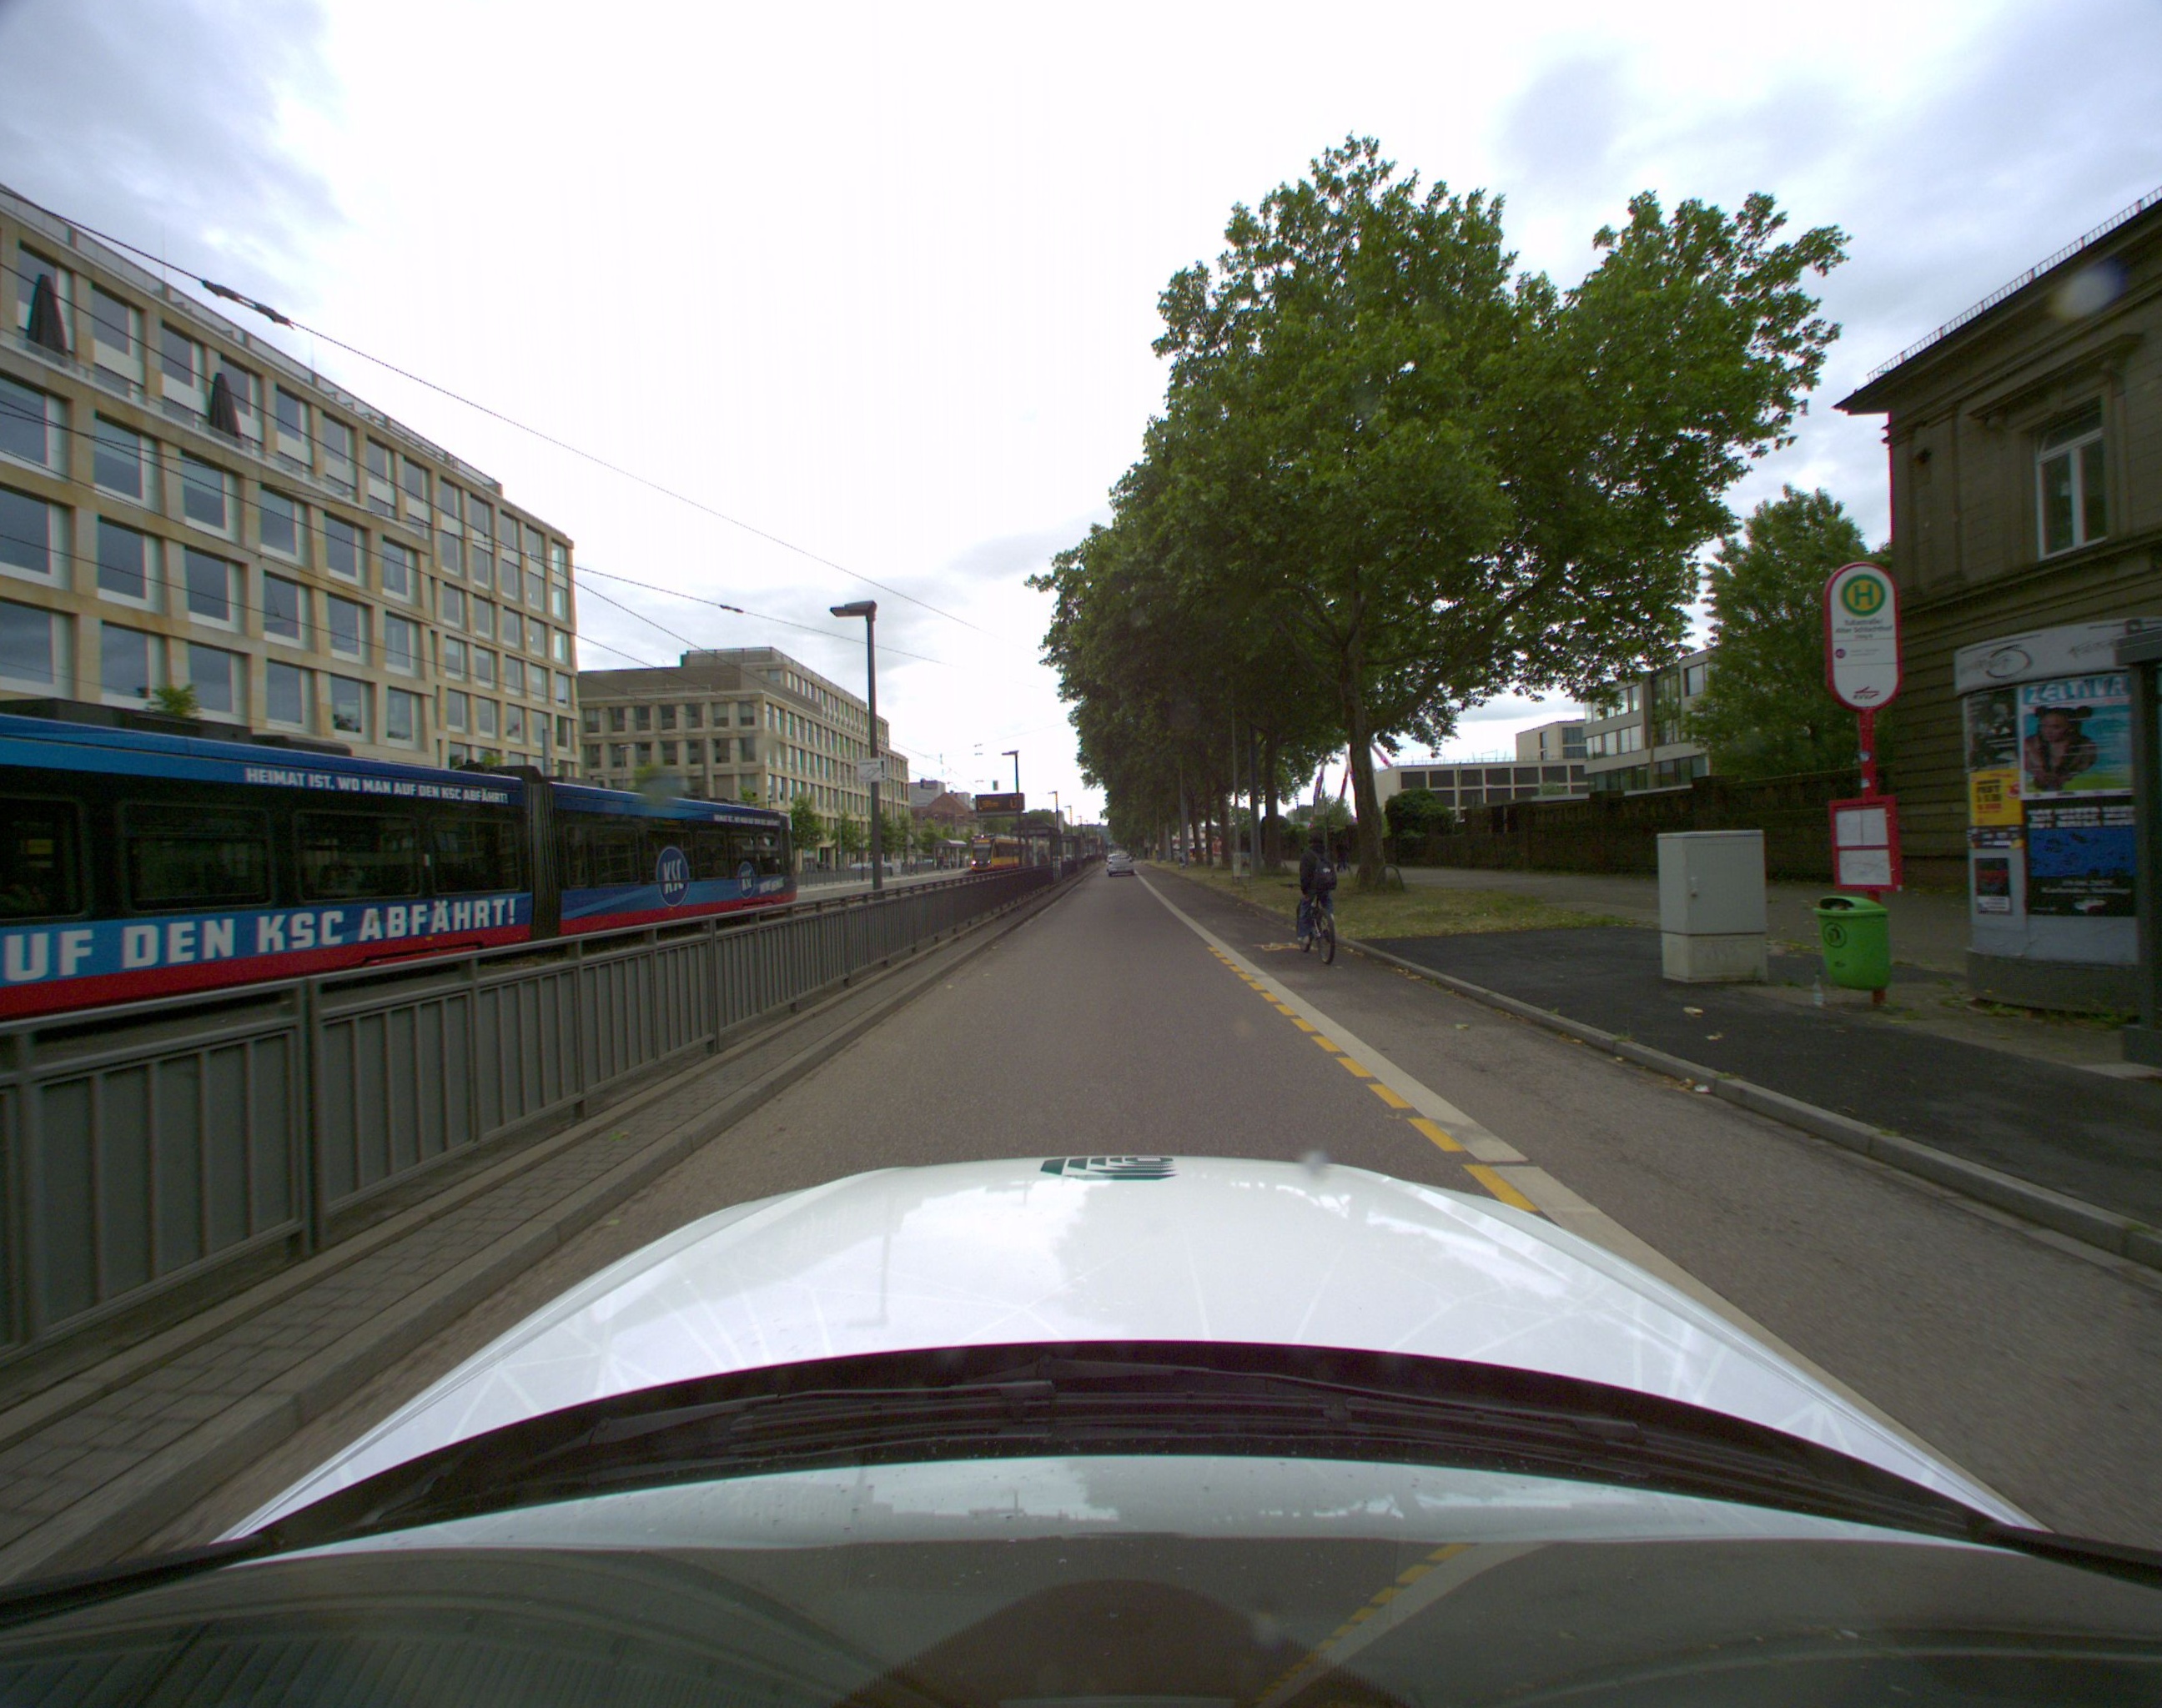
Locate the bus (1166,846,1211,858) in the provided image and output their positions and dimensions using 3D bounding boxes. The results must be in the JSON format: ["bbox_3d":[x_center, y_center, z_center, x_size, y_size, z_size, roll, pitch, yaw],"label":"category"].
[{"bbox_3d":[22.728,-0.436,172.537,9.247,2.227,2.000,-2,-1,0],"label":"bus"}]

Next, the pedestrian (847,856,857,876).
[{"bbox_3d":[-23.970,1.253,85.129,0.710,2.014,0.725,-2,-1,2],"label":"pedestrian"}]

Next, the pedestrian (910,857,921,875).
[{"bbox_3d":[-18.843,1.375,92.932,0.929,2.014,1.033,-2,-1,1],"label":"pedestrian"}]

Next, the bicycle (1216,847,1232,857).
[{"bbox_3d":[18.166,-0.283,103.518,1.915,1.091,0.550,-4,-1,0],"label":"bicycle"}]

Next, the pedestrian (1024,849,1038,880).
[{"bbox_3d":[-3.082,0.645,49.839,0.670,1.793,1.109,-2,-1,-10],"label":"pedestrian"}]

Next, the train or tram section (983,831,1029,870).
[{"bbox_3d":[-7.953,-0.283,88.051,3.150,3.862,11.320,-2,-1,3],"label":"train or tram section"}]

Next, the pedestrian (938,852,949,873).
[{"bbox_3d":[-11.935,0.738,70.656,0.709,1.795,1.161,-2,-1,1],"label":"pedestrian"}]

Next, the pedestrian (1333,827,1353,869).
[{"bbox_3d":[12.920,-0.292,40.184,0.581,2.014,0.924,-2,-1,2],"label":"pedestrian"}]

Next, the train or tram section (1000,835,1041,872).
[{"bbox_3d":[-7.283,-0.021,100.583,3.167,4.179,13.631,-2,-1,3],"label":"train or tram section"}]

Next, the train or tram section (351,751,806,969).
[{"bbox_3d":[-11.043,0.166,20.948,2.844,3.692,13.525,-2,-1,2],"label":"train or tram section"}]

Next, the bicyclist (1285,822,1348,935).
[{"bbox_3d":[3.319,0.336,11.502,0.638,1.531,0.664,-2,-1,0],"label":"bicyclist"}]

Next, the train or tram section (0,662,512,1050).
[{"bbox_3d":[-11.546,0.073,8.299,2.844,3.640,11.704,-2,-1,2],"label":"train or tram section"}]

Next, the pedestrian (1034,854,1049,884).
[{"bbox_3d":[-1.796,0.676,37.041,0.608,1.341,0.600,-2,-1,3],"label":"pedestrian"}]

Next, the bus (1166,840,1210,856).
[{"bbox_3d":[23.151,-1.344,176.010,9.247,2.960,2.000,-2,-1,0],"label":"bus"}]

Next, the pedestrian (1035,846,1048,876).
[{"bbox_3d":[-2.439,0.438,50.649,0.669,1.793,1.111,-2,-1,-6],"label":"pedestrian"}]

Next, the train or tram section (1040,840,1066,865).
[{"bbox_3d":[-4.857,-0.216,144.181,3.167,4.179,14.745,-2,-1,3],"label":"train or tram section"}]

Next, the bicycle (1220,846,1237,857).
[{"bbox_3d":[17.831,-0.293,98.360,1.883,1.105,0.550,-4,-1,0],"label":"bicycle"}]

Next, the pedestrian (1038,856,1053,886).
[{"bbox_3d":[-1.680,0.797,38.322,0.608,1.372,0.600,-2,-1,3],"label":"pedestrian"}]

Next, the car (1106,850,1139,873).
[{"bbox_3d":[2.862,0.508,55.620,1.875,1.453,4.008,-3,-1,8],"label":"car"}]

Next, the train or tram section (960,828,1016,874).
[{"bbox_3d":[-8.575,-0.246,76.683,3.224,3.862,11.320,-2,-1,3],"label":"train or tram section"}]

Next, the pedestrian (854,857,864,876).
[{"bbox_3d":[-23.465,1.290,86.159,0.710,2.014,0.725,-2,-1,2],"label":"pedestrian"}]

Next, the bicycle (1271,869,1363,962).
[{"bbox_3d":[3.325,0.815,11.690,0.650,1.150,2.283,-2,-1,1],"label":"bicycle"}]

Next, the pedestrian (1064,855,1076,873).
[{"bbox_3d":[-0.793,0.741,60.575,0.832,1.303,0.613,-2,-1,1],"label":"pedestrian"}]

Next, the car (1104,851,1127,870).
[{"bbox_3d":[3.122,0.587,73.196,1.832,1.552,4.005,-3,0,4],"label":"car"}]
